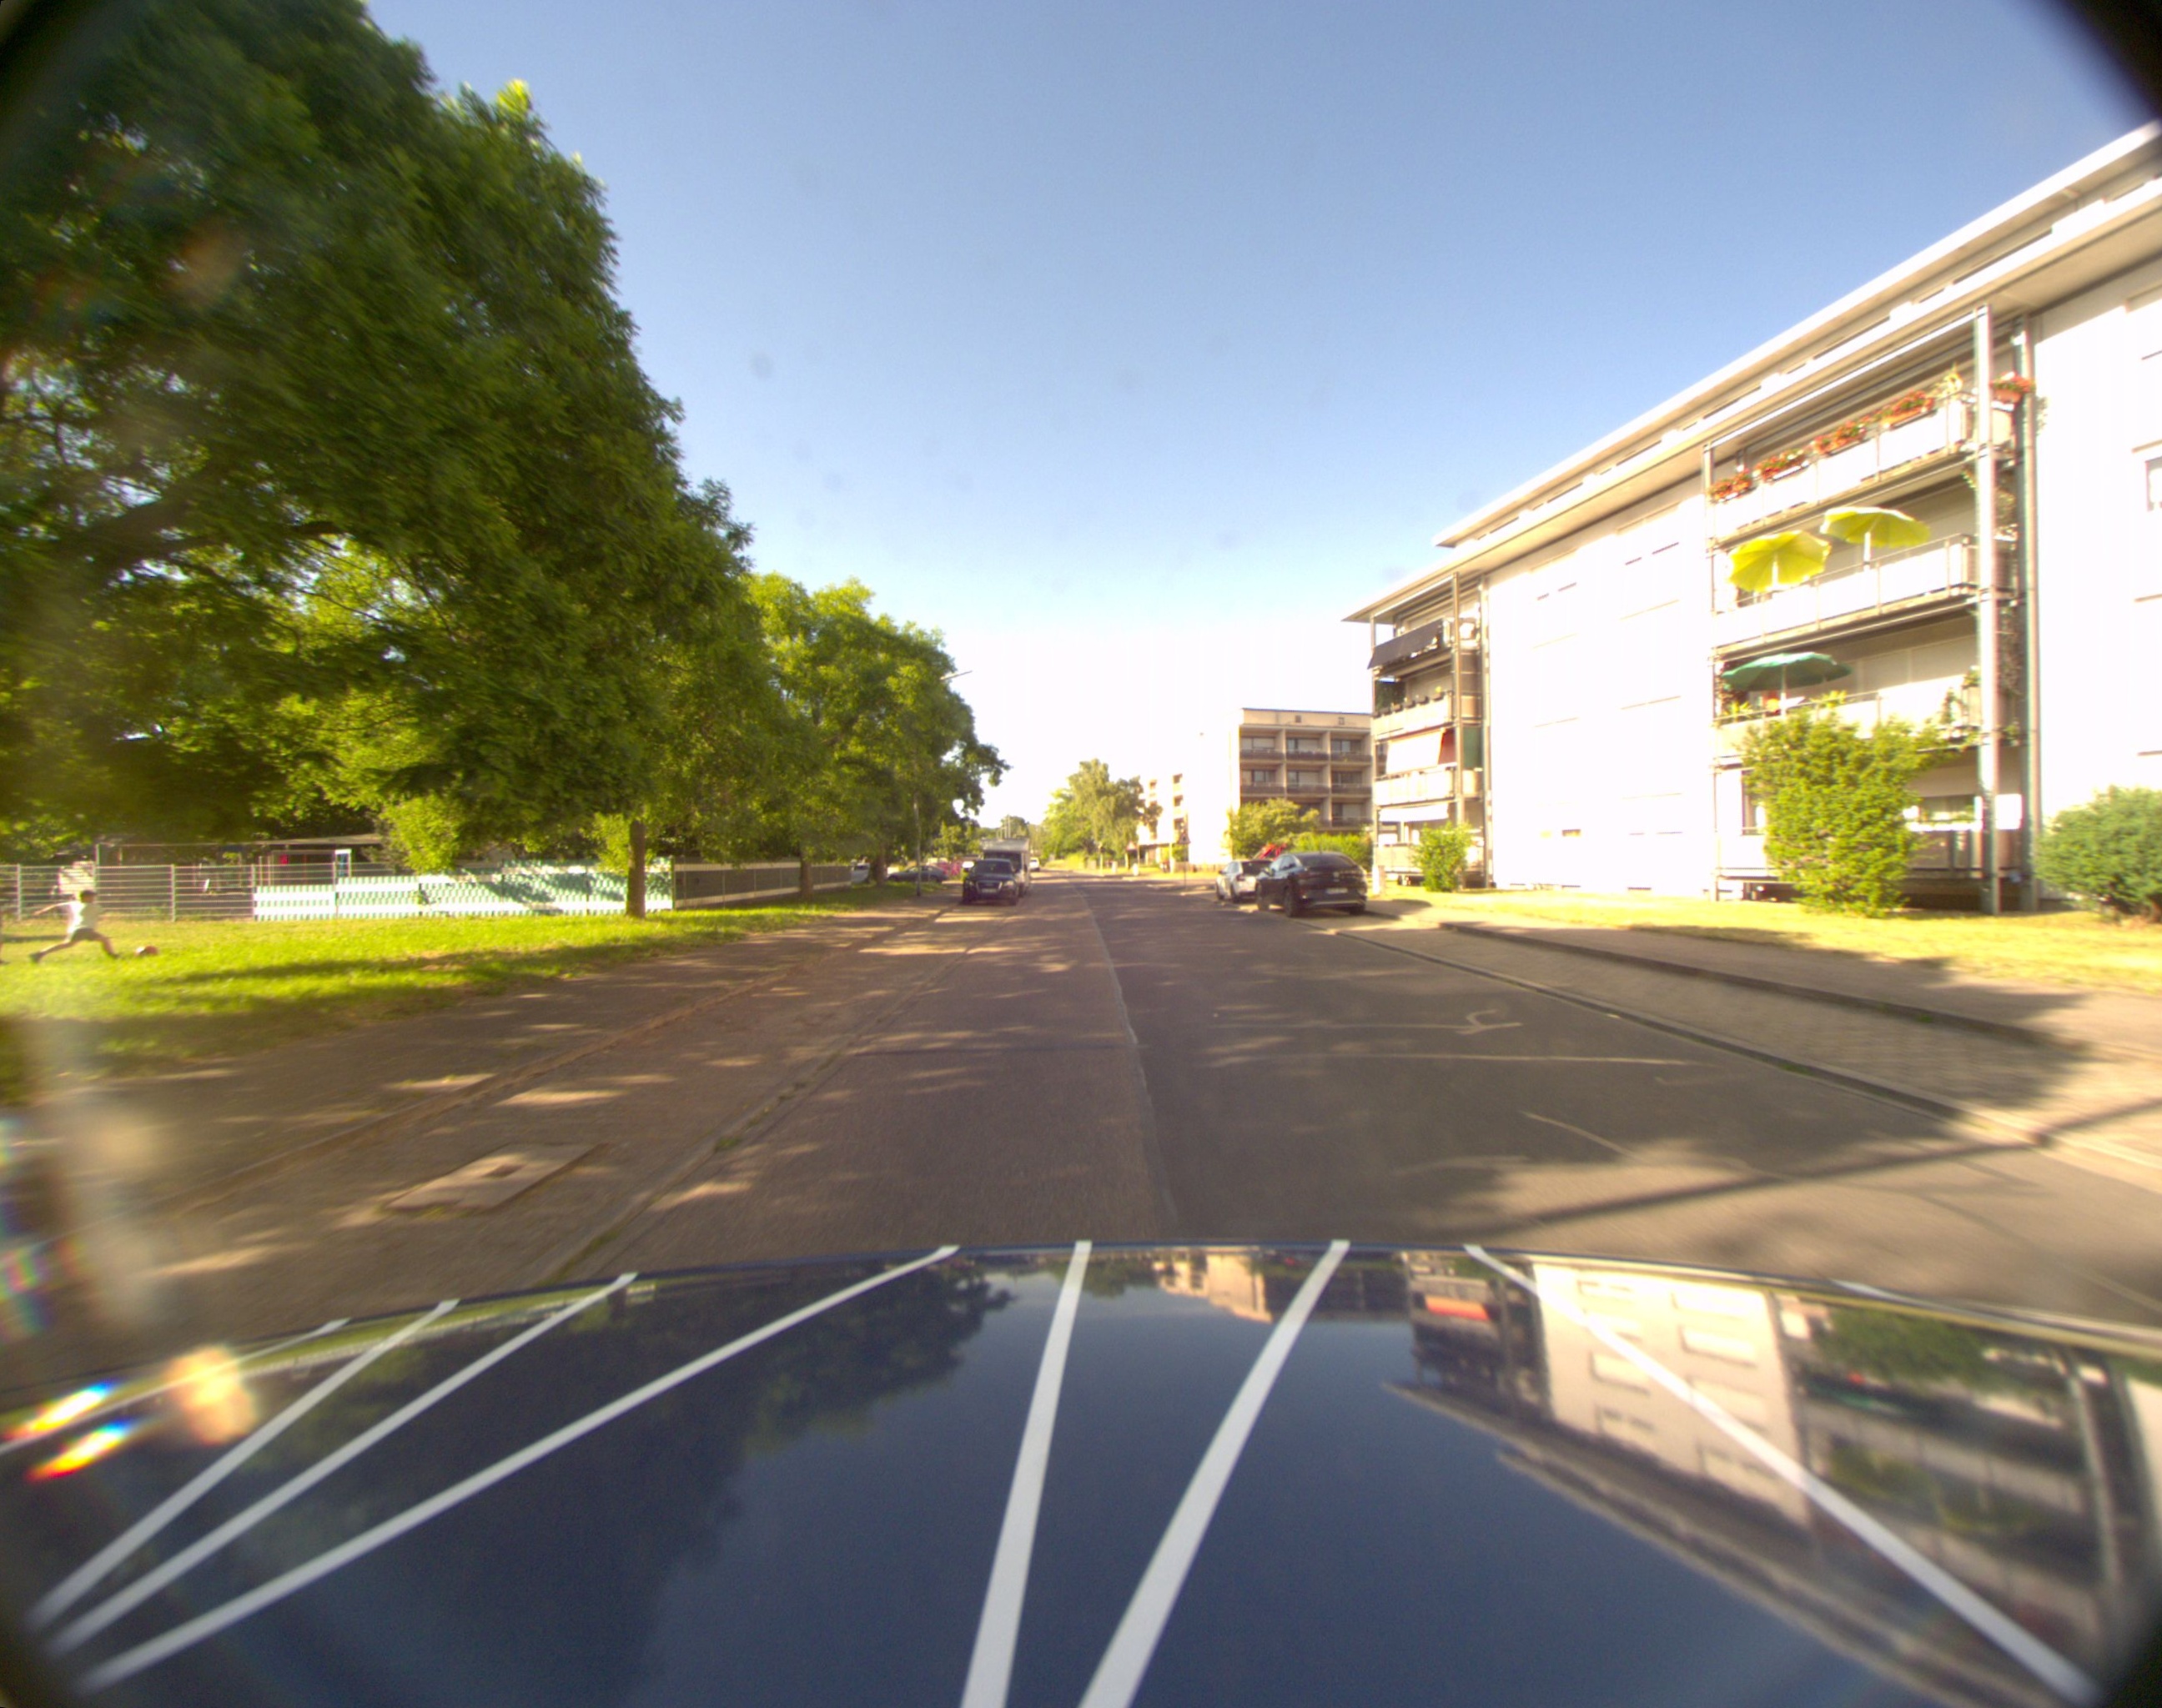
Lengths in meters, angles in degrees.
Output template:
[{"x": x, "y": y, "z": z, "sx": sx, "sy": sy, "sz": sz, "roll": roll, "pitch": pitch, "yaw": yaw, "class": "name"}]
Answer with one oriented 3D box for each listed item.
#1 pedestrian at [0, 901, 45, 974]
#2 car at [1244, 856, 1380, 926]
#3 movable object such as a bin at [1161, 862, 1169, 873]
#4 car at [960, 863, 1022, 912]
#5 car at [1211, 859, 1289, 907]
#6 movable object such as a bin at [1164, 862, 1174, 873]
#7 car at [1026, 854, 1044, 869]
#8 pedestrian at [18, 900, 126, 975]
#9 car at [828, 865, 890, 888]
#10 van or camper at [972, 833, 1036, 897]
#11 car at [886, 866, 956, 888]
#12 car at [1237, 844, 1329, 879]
[{"x": -16.646, "y": 1.276, "z": 11.703, "sx": 0.635, "sy": 1.082, "sz": 0.507, "roll": 0, "pitch": 0, "yaw": -21, "class": "pedestrian"}, {"x": 5.861, "y": 0.850, "z": 19.966, "sx": 1.919, "sy": 1.594, "sz": 4.811, "roll": -1, "pitch": 0, "yaw": -2, "class": "car"}, {"x": 8.401, "y": 1.336, "z": 75.944, "sx": 0.565, "sy": 1.047, "sz": 0.556, "roll": -1, "pitch": 0, "yaw": -26, "class": "movable object such as a bin"}, {"x": -3.229, "y": 1.166, "z": 28.132, "sx": 1.999, "sy": 1.630, "sz": 4.535, "roll": 1, "pitch": 0, "yaw": -4, "class": "car"}, {"x": 5.742, "y": 0.933, "z": 26.253, "sx": 1.651, "sy": 1.458, "sz": 4.330, "roll": -2, "pitch": 0, "yaw": -1, "class": "car"}, {"x": 8.713, "y": 1.325, "z": 75.272, "sx": 0.629, "sy": 1.042, "sz": 0.701, "roll": -1, "pitch": 0, "yaw": -27, "class": "movable object such as a bin"}, {"x": -6.057, "y": 0.989, "z": 99.913, "sx": 1.921, "sy": 1.860, "sz": 4.862, "roll": -2, "pitch": 0, "yaw": -7, "class": "car"}, {"x": -15.639, "y": 1.271, "z": 11.794, "sx": 0.704, "sy": 1.082, "sz": 0.723, "roll": 0, "pitch": 0, "yaw": -10, "class": "pedestrian"}, {"x": -15.521, "y": 1.559, "z": 53.229, "sx": 3.692, "sy": 1.568, "sz": 1.829, "roll": -1, "pitch": 0, "yaw": 4, "class": "car"}, {"x": -3.399, "y": 0.483, "z": 34.921, "sx": 2.358, "sy": 2.581, "sz": 6.425, "roll": 2, "pitch": 0, "yaw": -2, "class": "van or camper"}, {"x": -11.109, "y": 1.612, "z": 53.016, "sx": 4.436, "sy": 1.329, "sz": 1.746, "roll": -2, "pitch": -2, "yaw": 1, "class": "car"}, {"x": 14.254, "y": 0.554, "z": 53.819, "sx": 5.922, "sy": 2.414, "sz": 2.213, "roll": 0, "pitch": -2, "yaw": -4, "class": "car"}]
